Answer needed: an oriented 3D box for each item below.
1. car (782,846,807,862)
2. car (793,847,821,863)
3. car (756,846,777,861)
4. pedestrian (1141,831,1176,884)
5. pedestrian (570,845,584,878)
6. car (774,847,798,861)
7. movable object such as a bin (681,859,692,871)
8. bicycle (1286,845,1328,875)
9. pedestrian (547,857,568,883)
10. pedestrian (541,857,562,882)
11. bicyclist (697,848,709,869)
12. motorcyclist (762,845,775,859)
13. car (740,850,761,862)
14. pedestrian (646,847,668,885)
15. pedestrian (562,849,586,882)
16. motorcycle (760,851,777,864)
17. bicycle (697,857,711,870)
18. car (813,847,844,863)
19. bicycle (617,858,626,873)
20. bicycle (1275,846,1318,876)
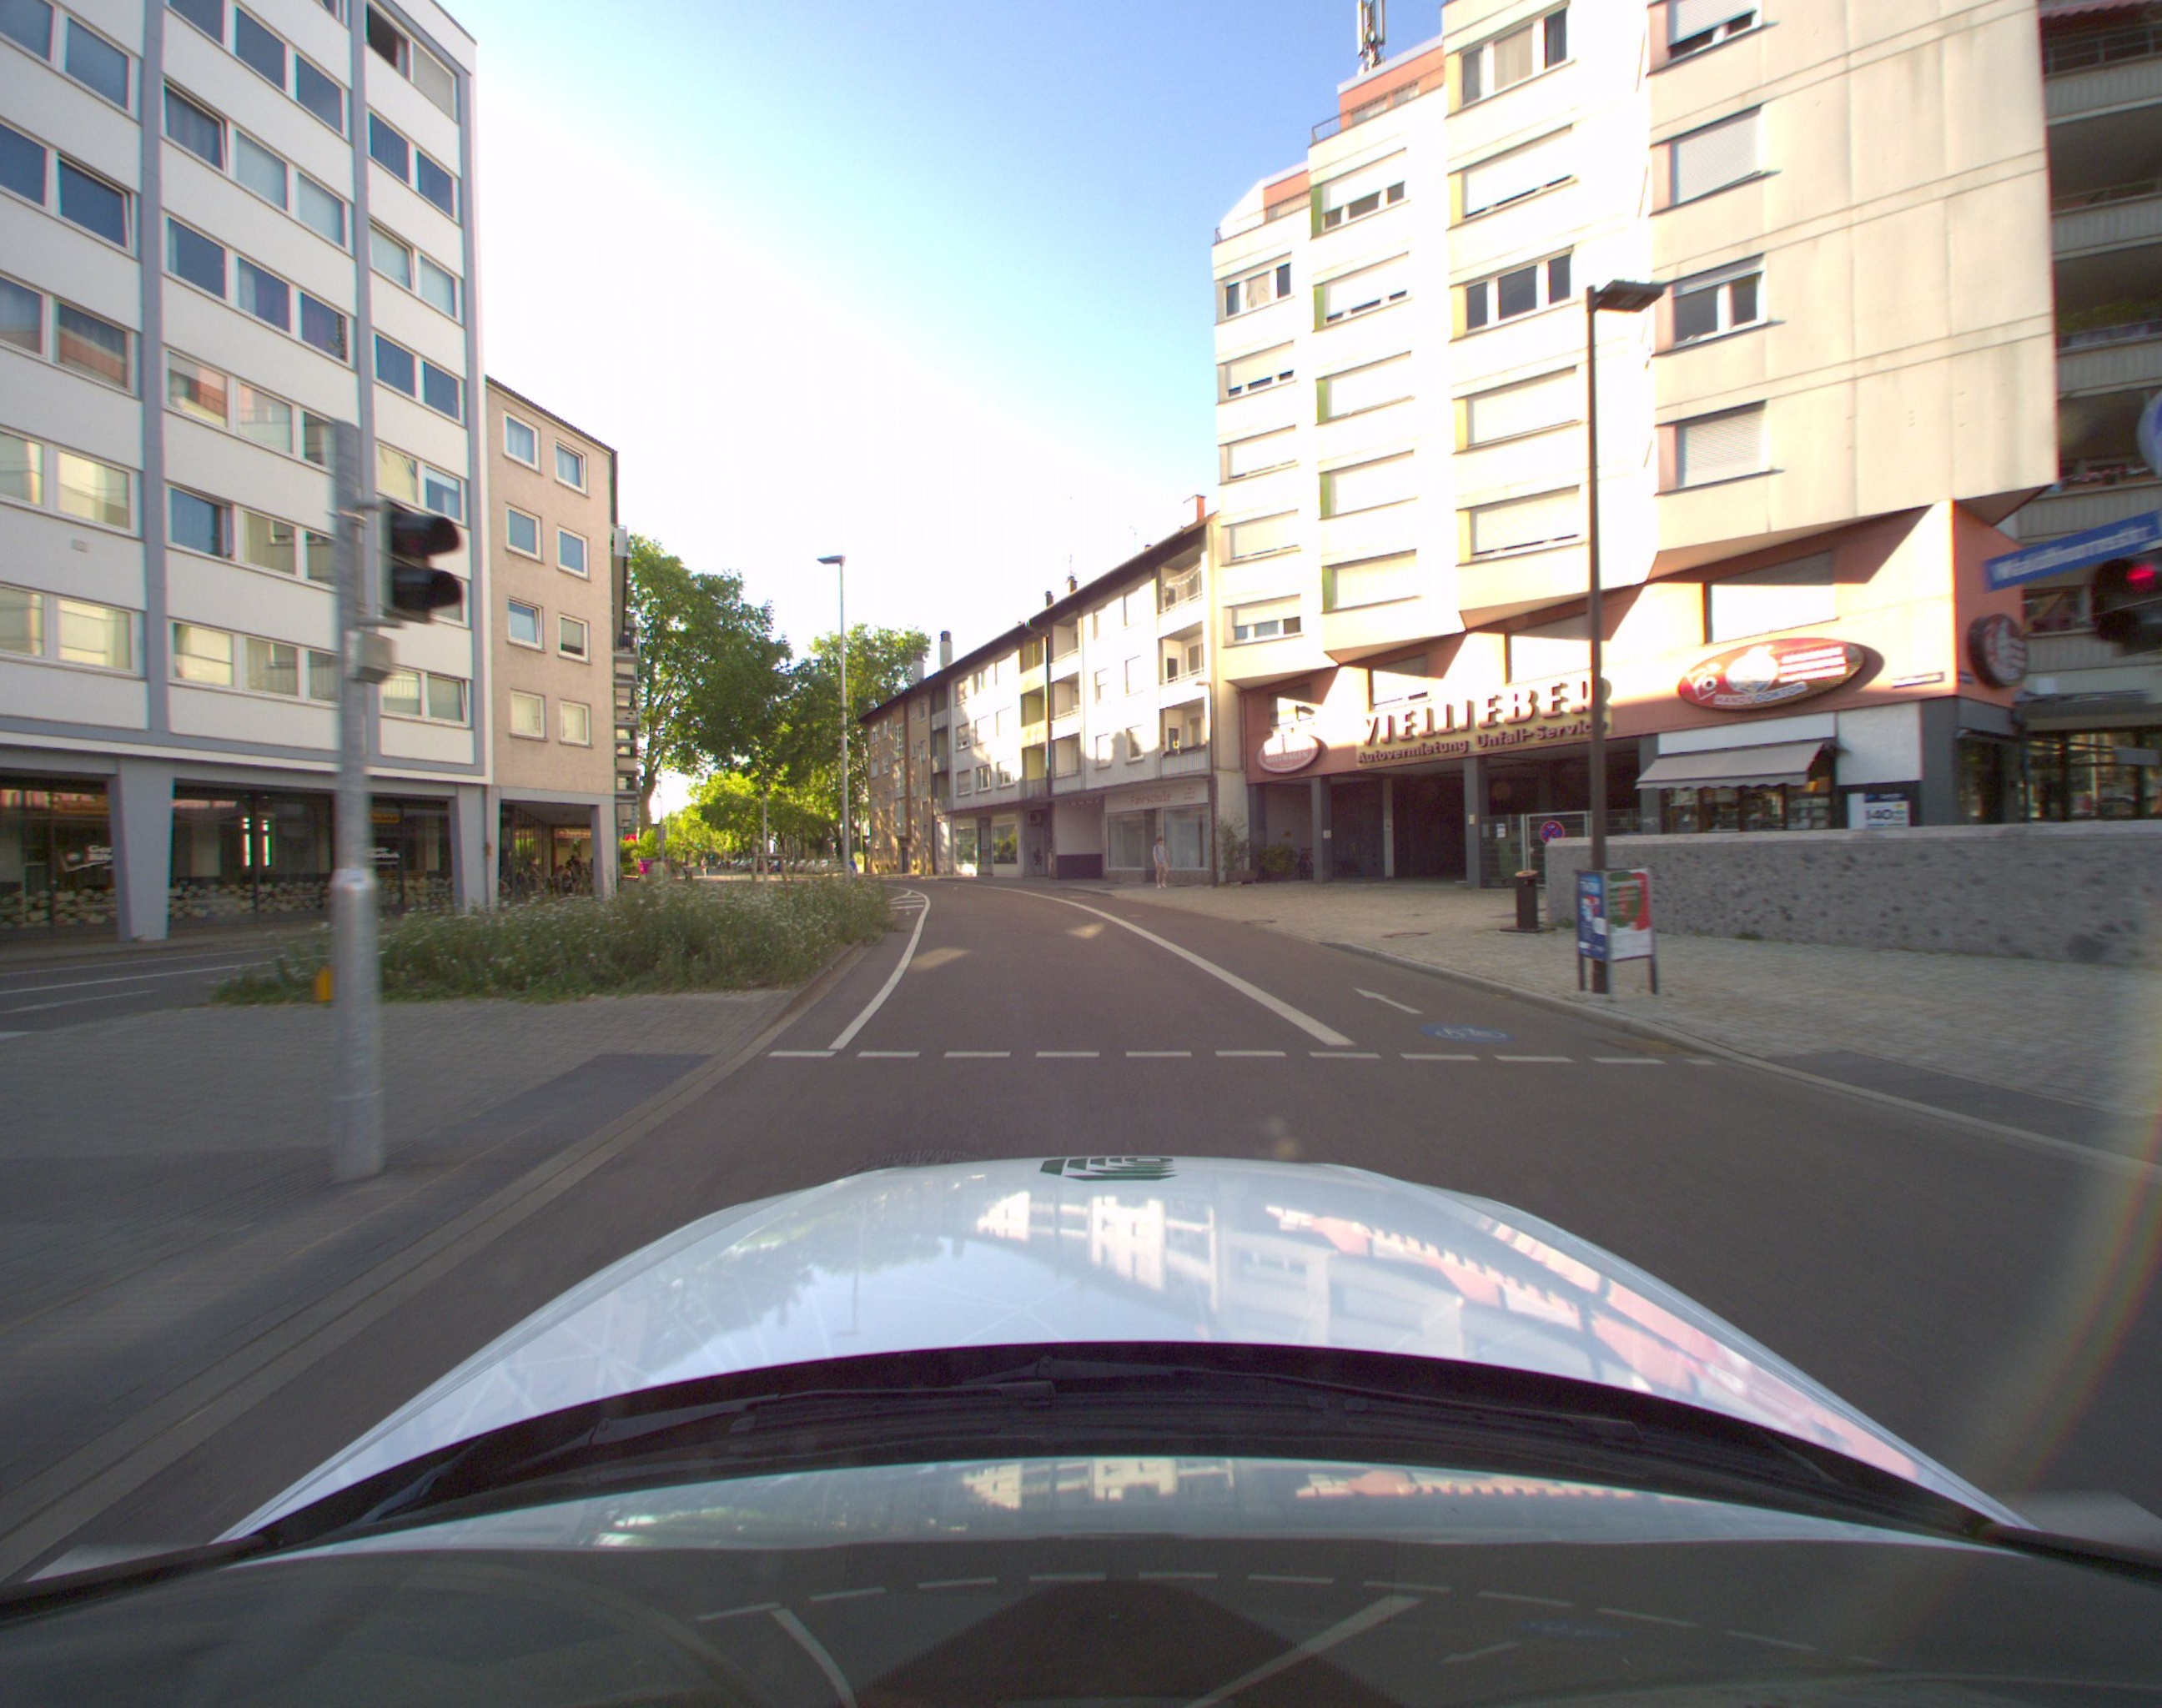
[{"bbox_3d":[-33.097,0.012,94.021,2.046,1.759,4.054,-2,1,-30],"label":"car"},{"bbox_3d":[-29.971,0.112,89.079,2.046,1.616,4.054,-2,1,-30],"label":"car"},{"bbox_3d":[-42.693,-0.096,110.589,2.046,1.934,4.054,-2,2,-30],"label":"car"},{"bbox_3d":[2.803,0.138,29.545,0.736,1.854,0.939,-4,1,-31],"label":"pedestrian"},{"bbox_3d":[-28.172,0.399,45.482,0.618,1.795,0.648,-1,0,-34],"label":"pedestrian"},{"bbox_3d":[-35.995,-0.005,99.370,2.046,1.719,4.054,-2,1,-30],"label":"car"},{"bbox_3d":[-29.373,0.833,60.559,0.690,0.852,0.574,1,0,-30],"label":"movable object such as a bin"},{"bbox_3d":[8.334,0.214,30.057,0.497,1.038,1.623,-1,1,-30],"label":"bicycle"},{"bbox_3d":[-26.471,0.806,41.173,0.837,1.265,0.846,-1,0,-29],"label":"pedestrian"},{"bbox_3d":[-27.356,0.792,42.089,0.837,1.265,0.846,-1,0,-29],"label":"pedestrian"},{"bbox_3d":[-36.478,0.452,78.612,0.821,1.947,0.848,-2,1,-35],"label":"bicyclist"},{"bbox_3d":[-29.658,-0.187,77.180,0.977,1.347,1.126,0,1,-31],"label":"motorcyclist"},{"bbox_3d":[-37.467,0.207,92.383,1.933,1.388,3.966,-1,1,-26],"label":"car"},{"bbox_3d":[-19.268,0.533,36.983,0.811,1.724,0.768,-1,0,-34],"label":"pedestrian"},{"bbox_3d":[-26.614,0.592,42.763,0.834,1.724,0.849,-1,0,-17],"label":"pedestrian"},{"bbox_3d":[-29.605,0.300,77.103,0.979,1.131,2.777,0,1,-31],"label":"motorcycle"},{"bbox_3d":[-36.361,0.895,78.455,0.821,1.139,2.313,-2,1,-34],"label":"bicycle"},{"bbox_3d":[-24.616,0.103,79.291,2.046,1.504,4.054,-2,1,-30],"label":"car"},{"bbox_3d":[-27.744,0.676,49.161,0.392,0.878,1.596,2,-1,-31],"label":"bicycle"},{"bbox_3d":[7.751,0.223,29.325,0.497,1.038,1.623,-1,1,-30],"label":"bicycle"}]
